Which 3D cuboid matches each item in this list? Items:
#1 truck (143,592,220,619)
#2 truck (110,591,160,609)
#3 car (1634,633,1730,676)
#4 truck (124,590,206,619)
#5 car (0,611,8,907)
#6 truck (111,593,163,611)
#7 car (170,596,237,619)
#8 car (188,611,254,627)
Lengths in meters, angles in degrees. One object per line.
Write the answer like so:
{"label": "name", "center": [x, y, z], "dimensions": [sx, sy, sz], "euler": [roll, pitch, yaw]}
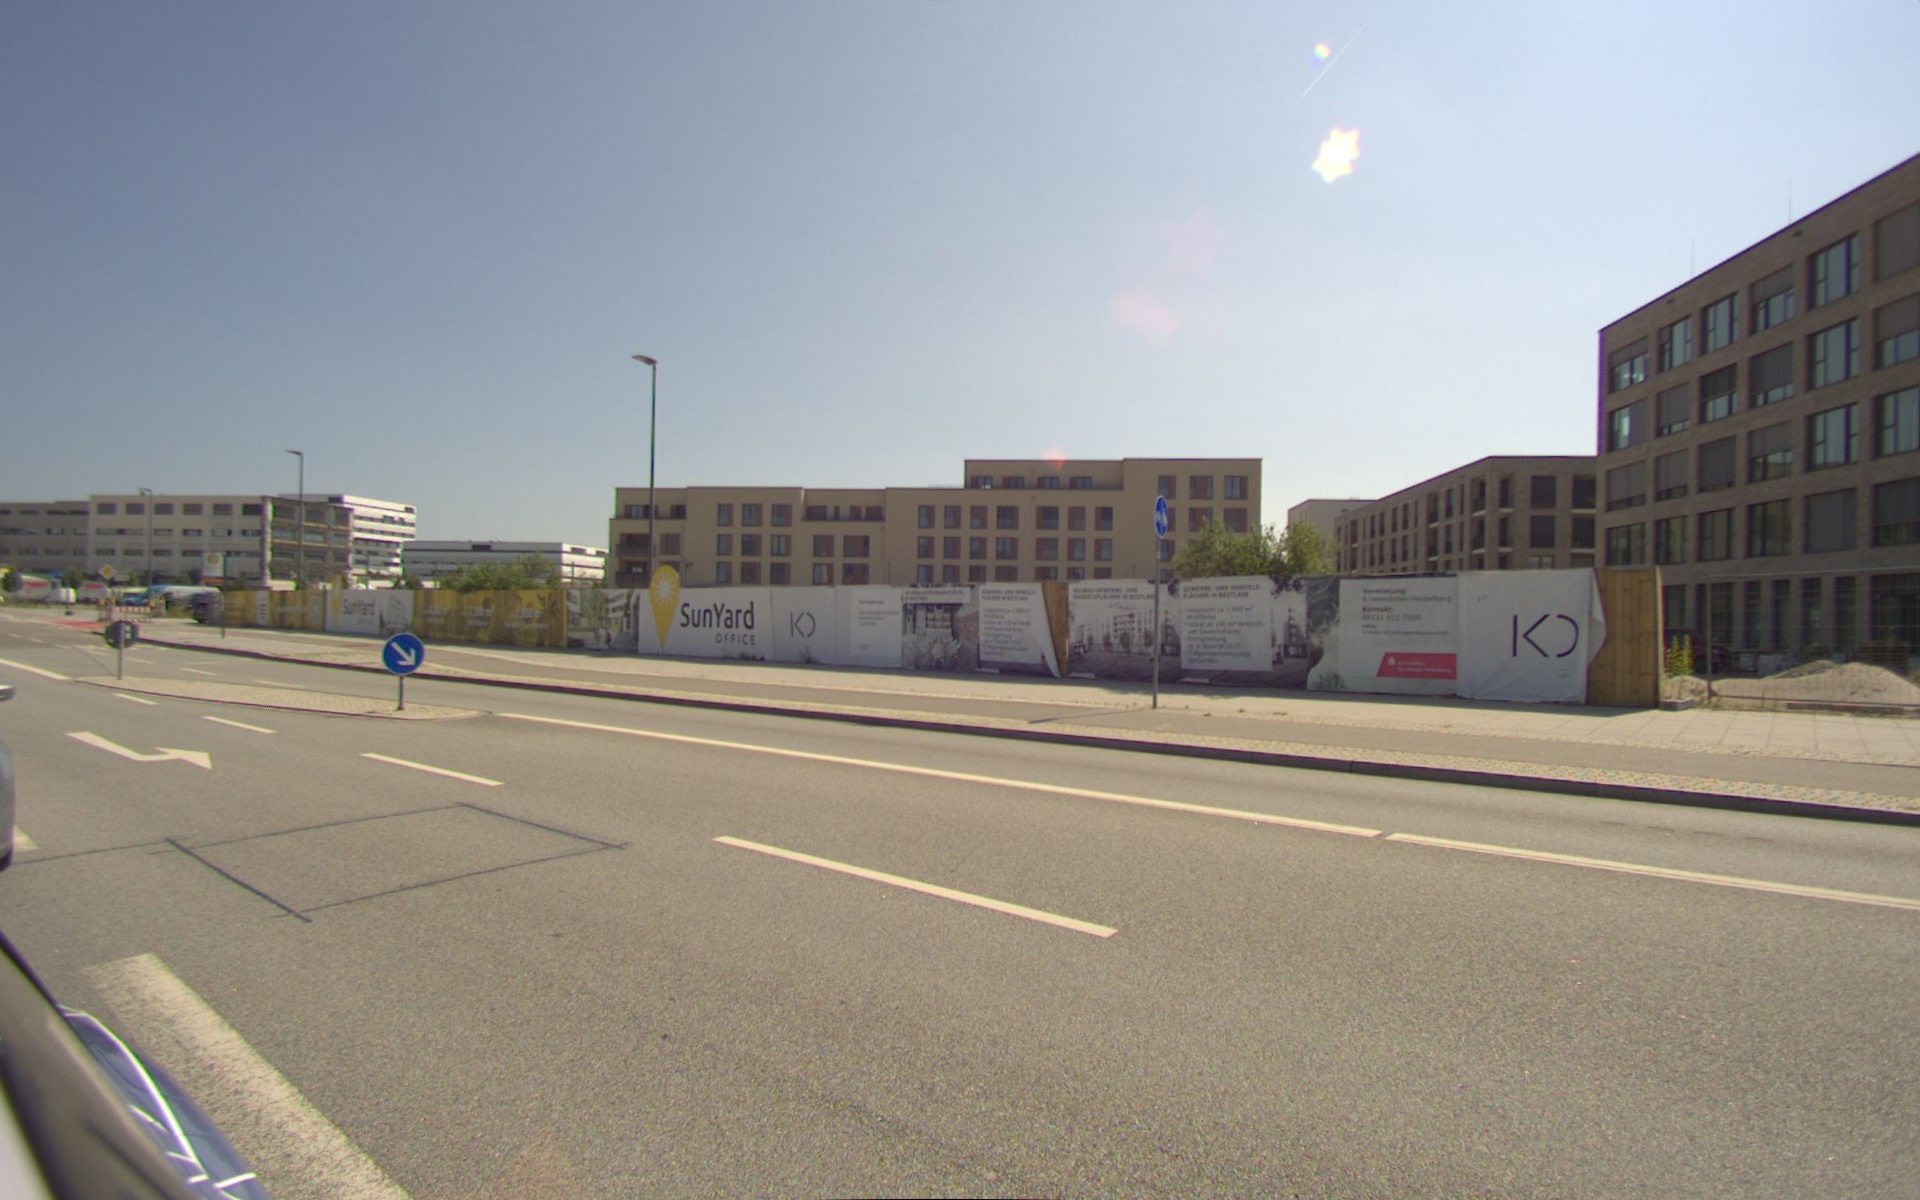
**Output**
{"label": "truck", "center": [-67.150, 0.412, 87.305], "dimensions": [1.998, 2.245, 4.942], "euler": [0, 1, 39]}
{"label": "truck", "center": [-120.260, -0.047, 147.551], "dimensions": [1.998, 2.494, 5.346], "euler": [0, 1, 38]}
{"label": "car", "center": [32.004, 2.393, 44.993], "dimensions": [1.814, 1.666, 3.772], "euler": [0, 0, 7]}
{"label": "truck", "center": [-72.505, 0.373, 92.346], "dimensions": [1.996, 2.494, 5.567], "euler": [0, 1, 36]}
{"label": "car", "center": [-7.002, 0.799, 5.848], "dimensions": [4.345, 1.478, 1.796], "euler": [0, 0, 41]}
{"label": "truck", "center": [-114.930, 0.278, 141.384], "dimensions": [1.996, 2.494, 5.270], "euler": [0, 1, 36]}
{"label": "car", "center": [-60.347, 0.592, 80.799], "dimensions": [1.888, 1.731, 3.885], "euler": [0, 1, 35]}
{"label": "car", "center": [-48.379, 1.234, 66.286], "dimensions": [1.293, 0.960, 3.315], "euler": [0, 1, 43]}
